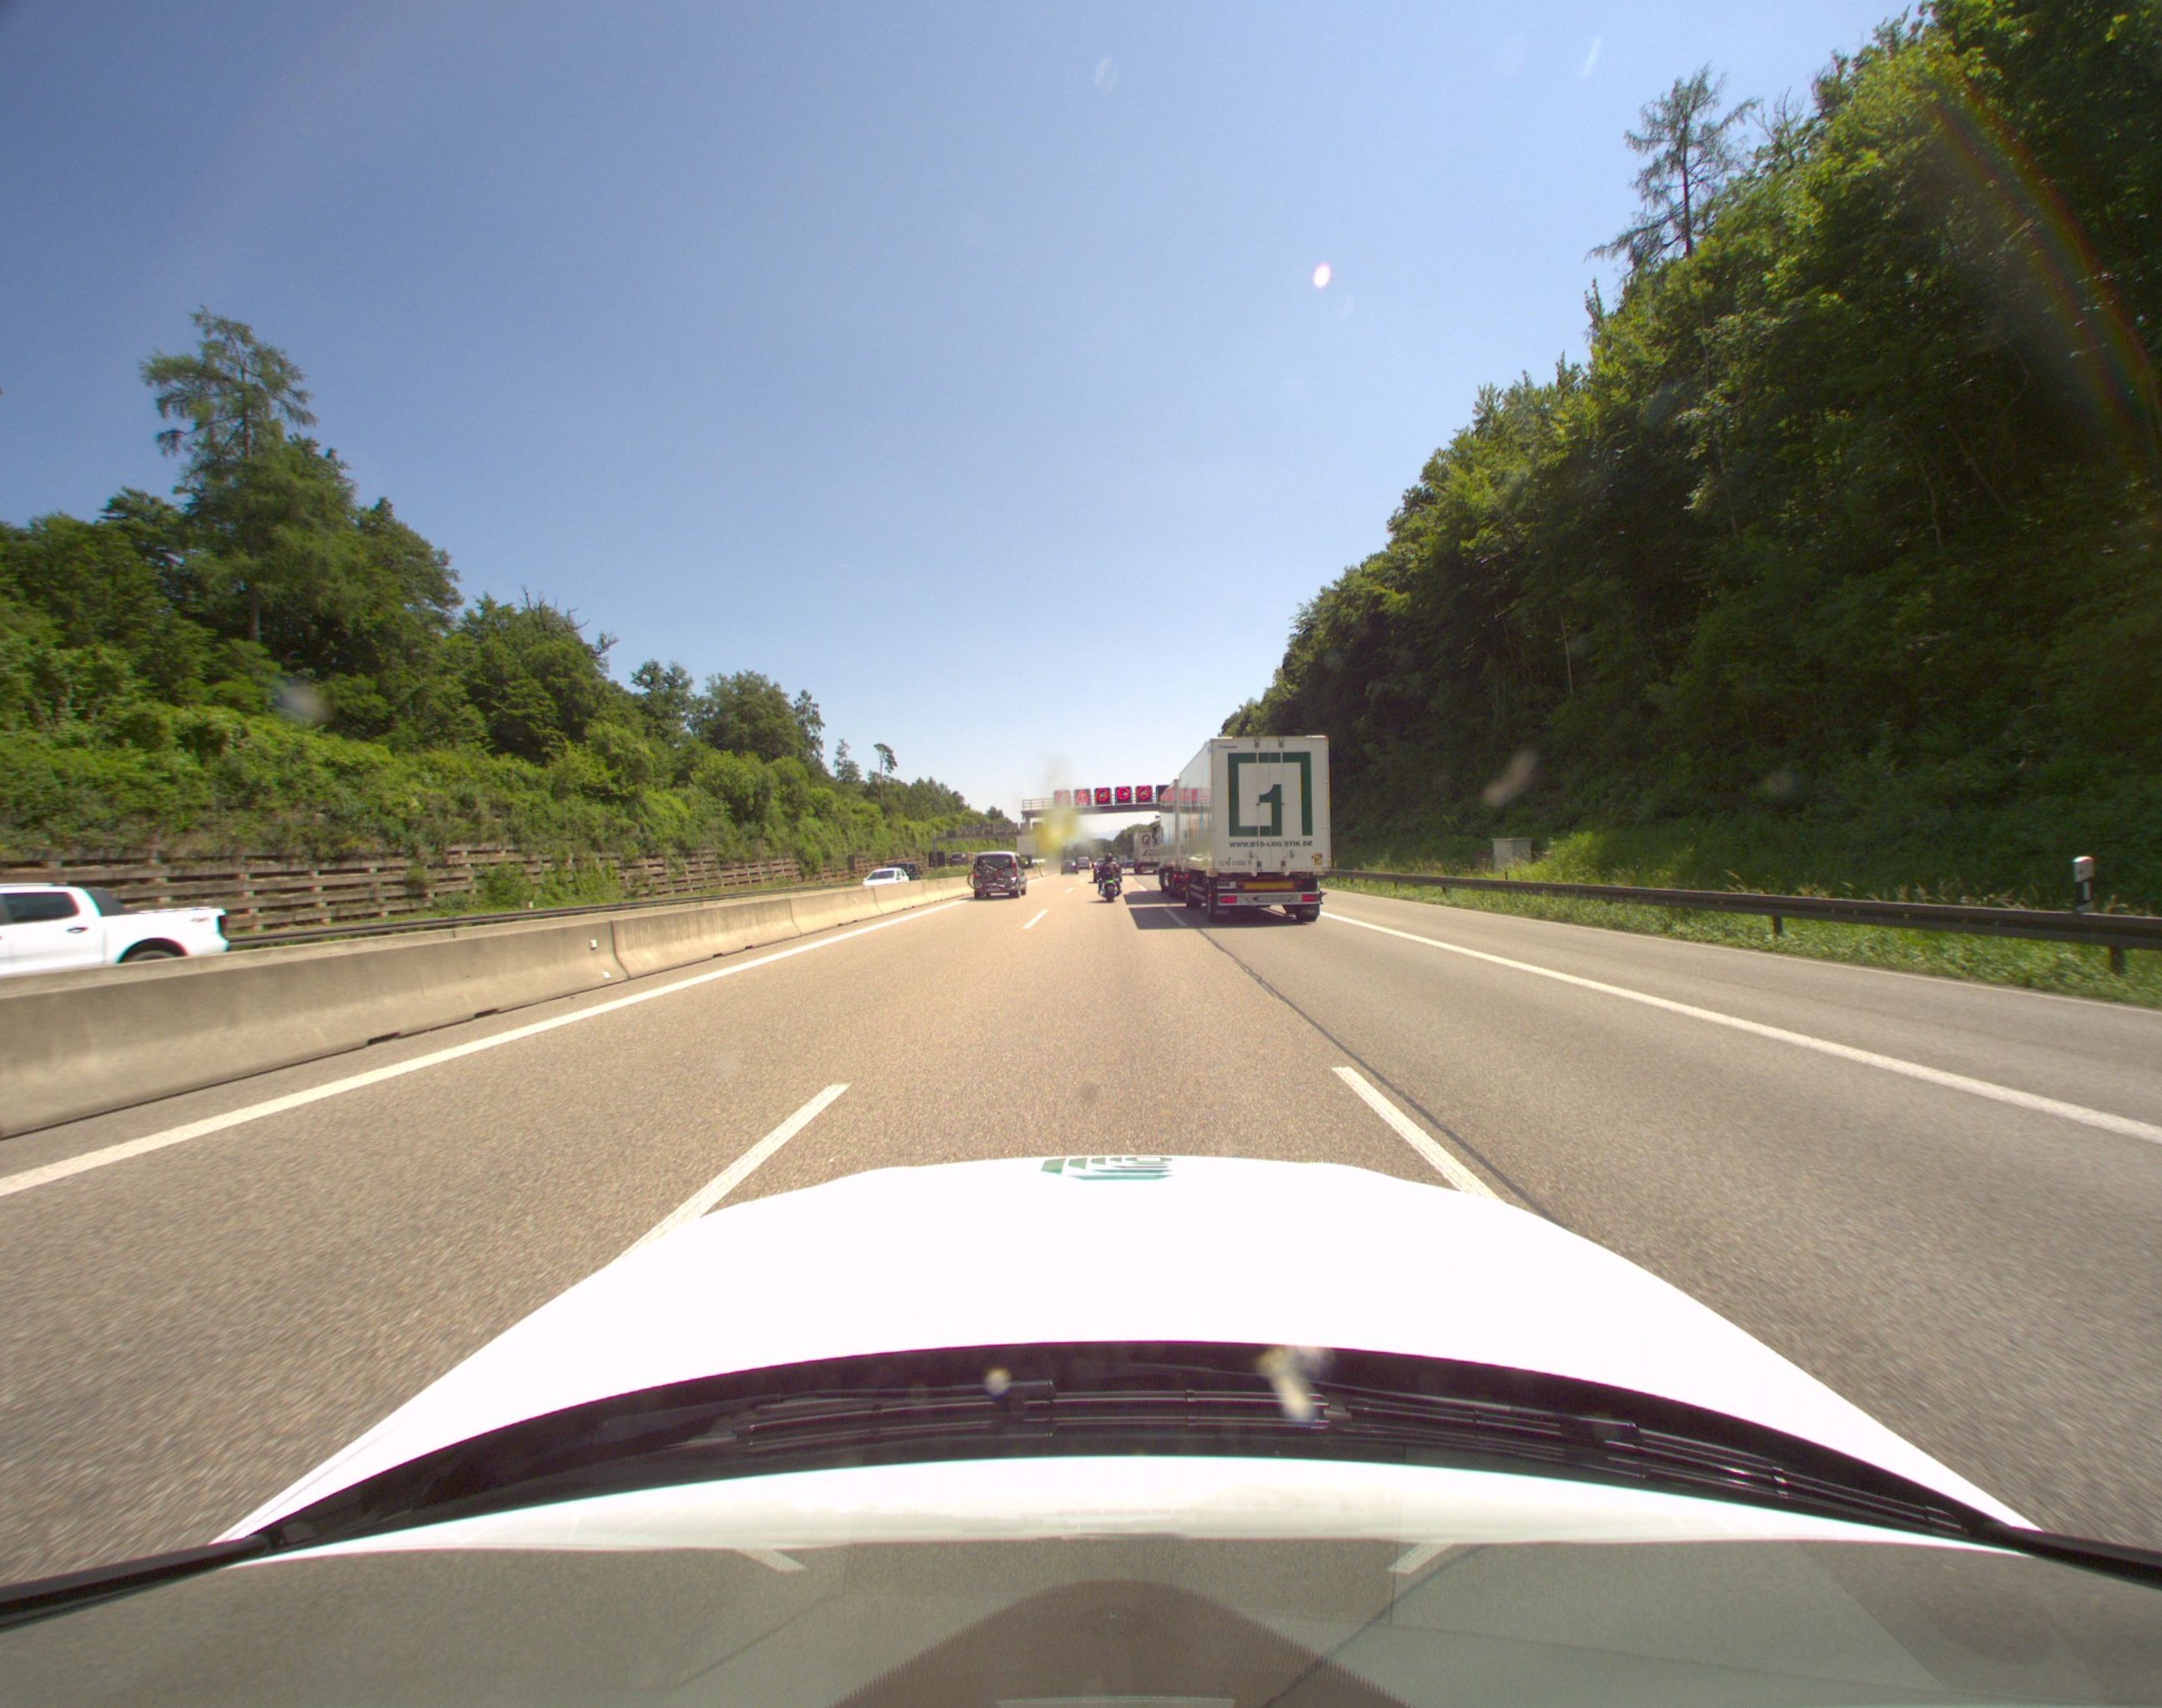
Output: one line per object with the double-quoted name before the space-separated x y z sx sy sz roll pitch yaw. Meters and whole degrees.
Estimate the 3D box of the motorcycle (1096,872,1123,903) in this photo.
"motorcycle" 0.994 1.115 27.792 0.859 0.982 2.132 -2 -1 3

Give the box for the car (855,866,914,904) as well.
"car" -9.578 1.480 40.026 1.740 1.605 4.059 -3 0 1

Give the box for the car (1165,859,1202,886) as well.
"car" 6.326 1.130 50.489 1.838 1.557 4.393 -1 0 1

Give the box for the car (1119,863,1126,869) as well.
"car" 10.627 3.103 207.944 1.824 1.527 4.028 -1 0 1

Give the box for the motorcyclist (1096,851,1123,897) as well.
"motorcyclist" 0.981 0.683 27.785 0.852 1.515 0.914 -2 -1 2

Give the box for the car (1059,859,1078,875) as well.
"car" -1.284 1.353 86.333 1.751 1.544 4.396 -1 0 2

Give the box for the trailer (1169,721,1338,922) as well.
"trailer" 4.183 -0.638 22.206 2.670 4.176 10.068 -1 -1 2

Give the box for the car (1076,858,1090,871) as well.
"car" 0.326 1.462 118.112 1.824 1.810 4.121 -1 0 1

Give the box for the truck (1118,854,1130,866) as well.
"truck" 12.426 1.693 235.639 3.056 3.346 9.655 0 -1 2

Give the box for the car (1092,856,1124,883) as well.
"car" 1.655 0.942 50.260 1.838 1.557 4.441 -1 0 1

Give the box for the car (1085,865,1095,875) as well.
"car" 1.800 3.070 158.412 1.824 1.810 4.121 -1 0 1

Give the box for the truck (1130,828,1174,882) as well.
"truck" 6.788 0.172 80.459 3.370 4.718 17.715 0 -1 2

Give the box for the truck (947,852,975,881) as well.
"truck" -17.941 1.860 122.229 2.923 4.059 5.870 -4 -1 2

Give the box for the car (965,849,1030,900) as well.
"car" -3.256 0.789 32.791 1.891 1.848 5.484 -1 -1 2

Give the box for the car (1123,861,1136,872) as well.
"car" 7.487 1.905 125.316 1.824 1.527 4.028 -1 0 1

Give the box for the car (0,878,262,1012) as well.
"car" -14.782 1.256 10.840 1.876 1.637 5.651 -3 0 2

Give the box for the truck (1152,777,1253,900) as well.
"truck" 4.505 -0.464 32.509 2.670 4.060 10.628 -1 -1 2
